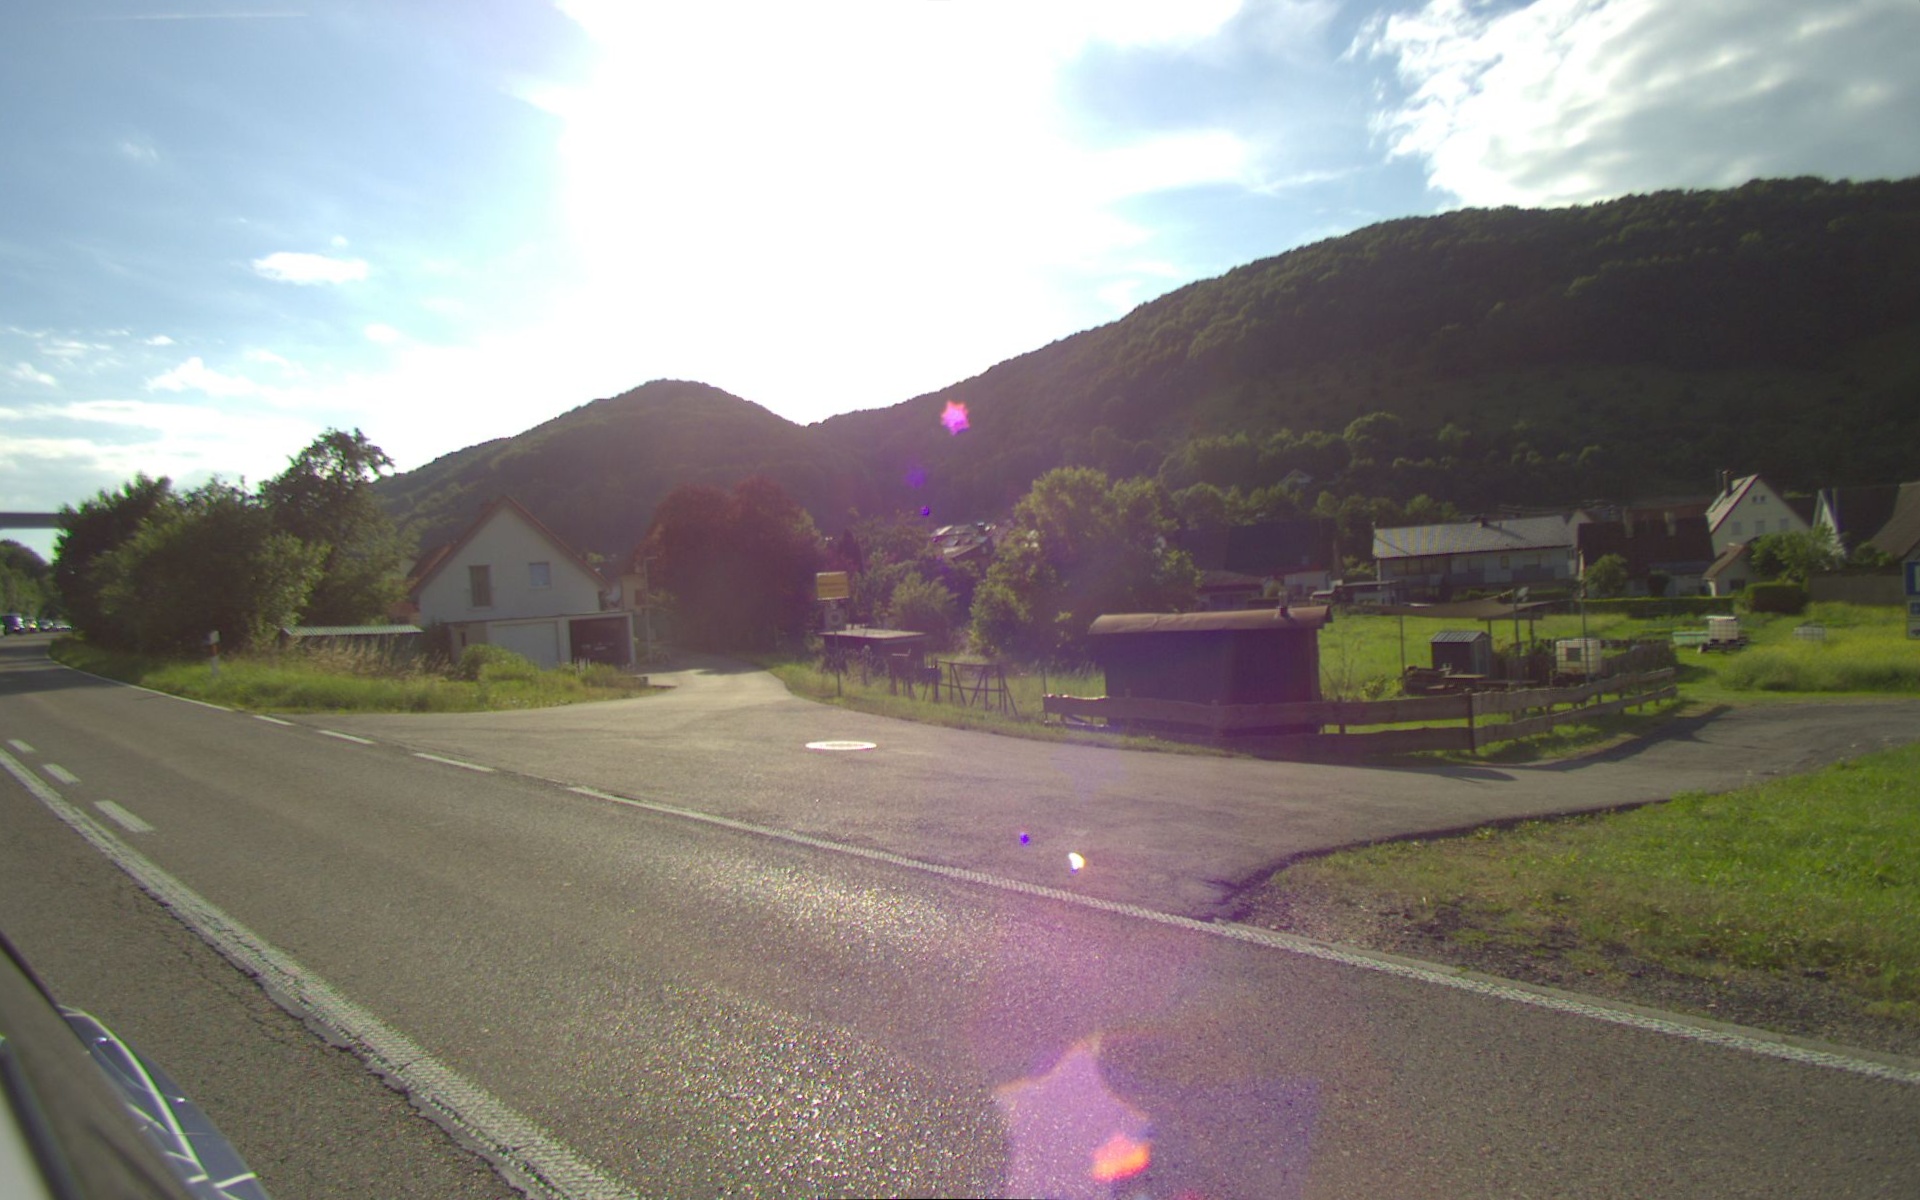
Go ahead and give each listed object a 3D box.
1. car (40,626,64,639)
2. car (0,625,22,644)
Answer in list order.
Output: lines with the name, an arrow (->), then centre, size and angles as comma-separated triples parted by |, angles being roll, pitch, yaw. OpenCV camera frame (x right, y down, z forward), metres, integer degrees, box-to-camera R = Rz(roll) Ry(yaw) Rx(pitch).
car -> -114.015, 4.090, 127.065 | 1.813, 1.564, 4.187 | 0, -1, -36
car -> -82.708, 2.970, 87.772 | 1.791, 1.630, 4.006 | 1, -1, -40
